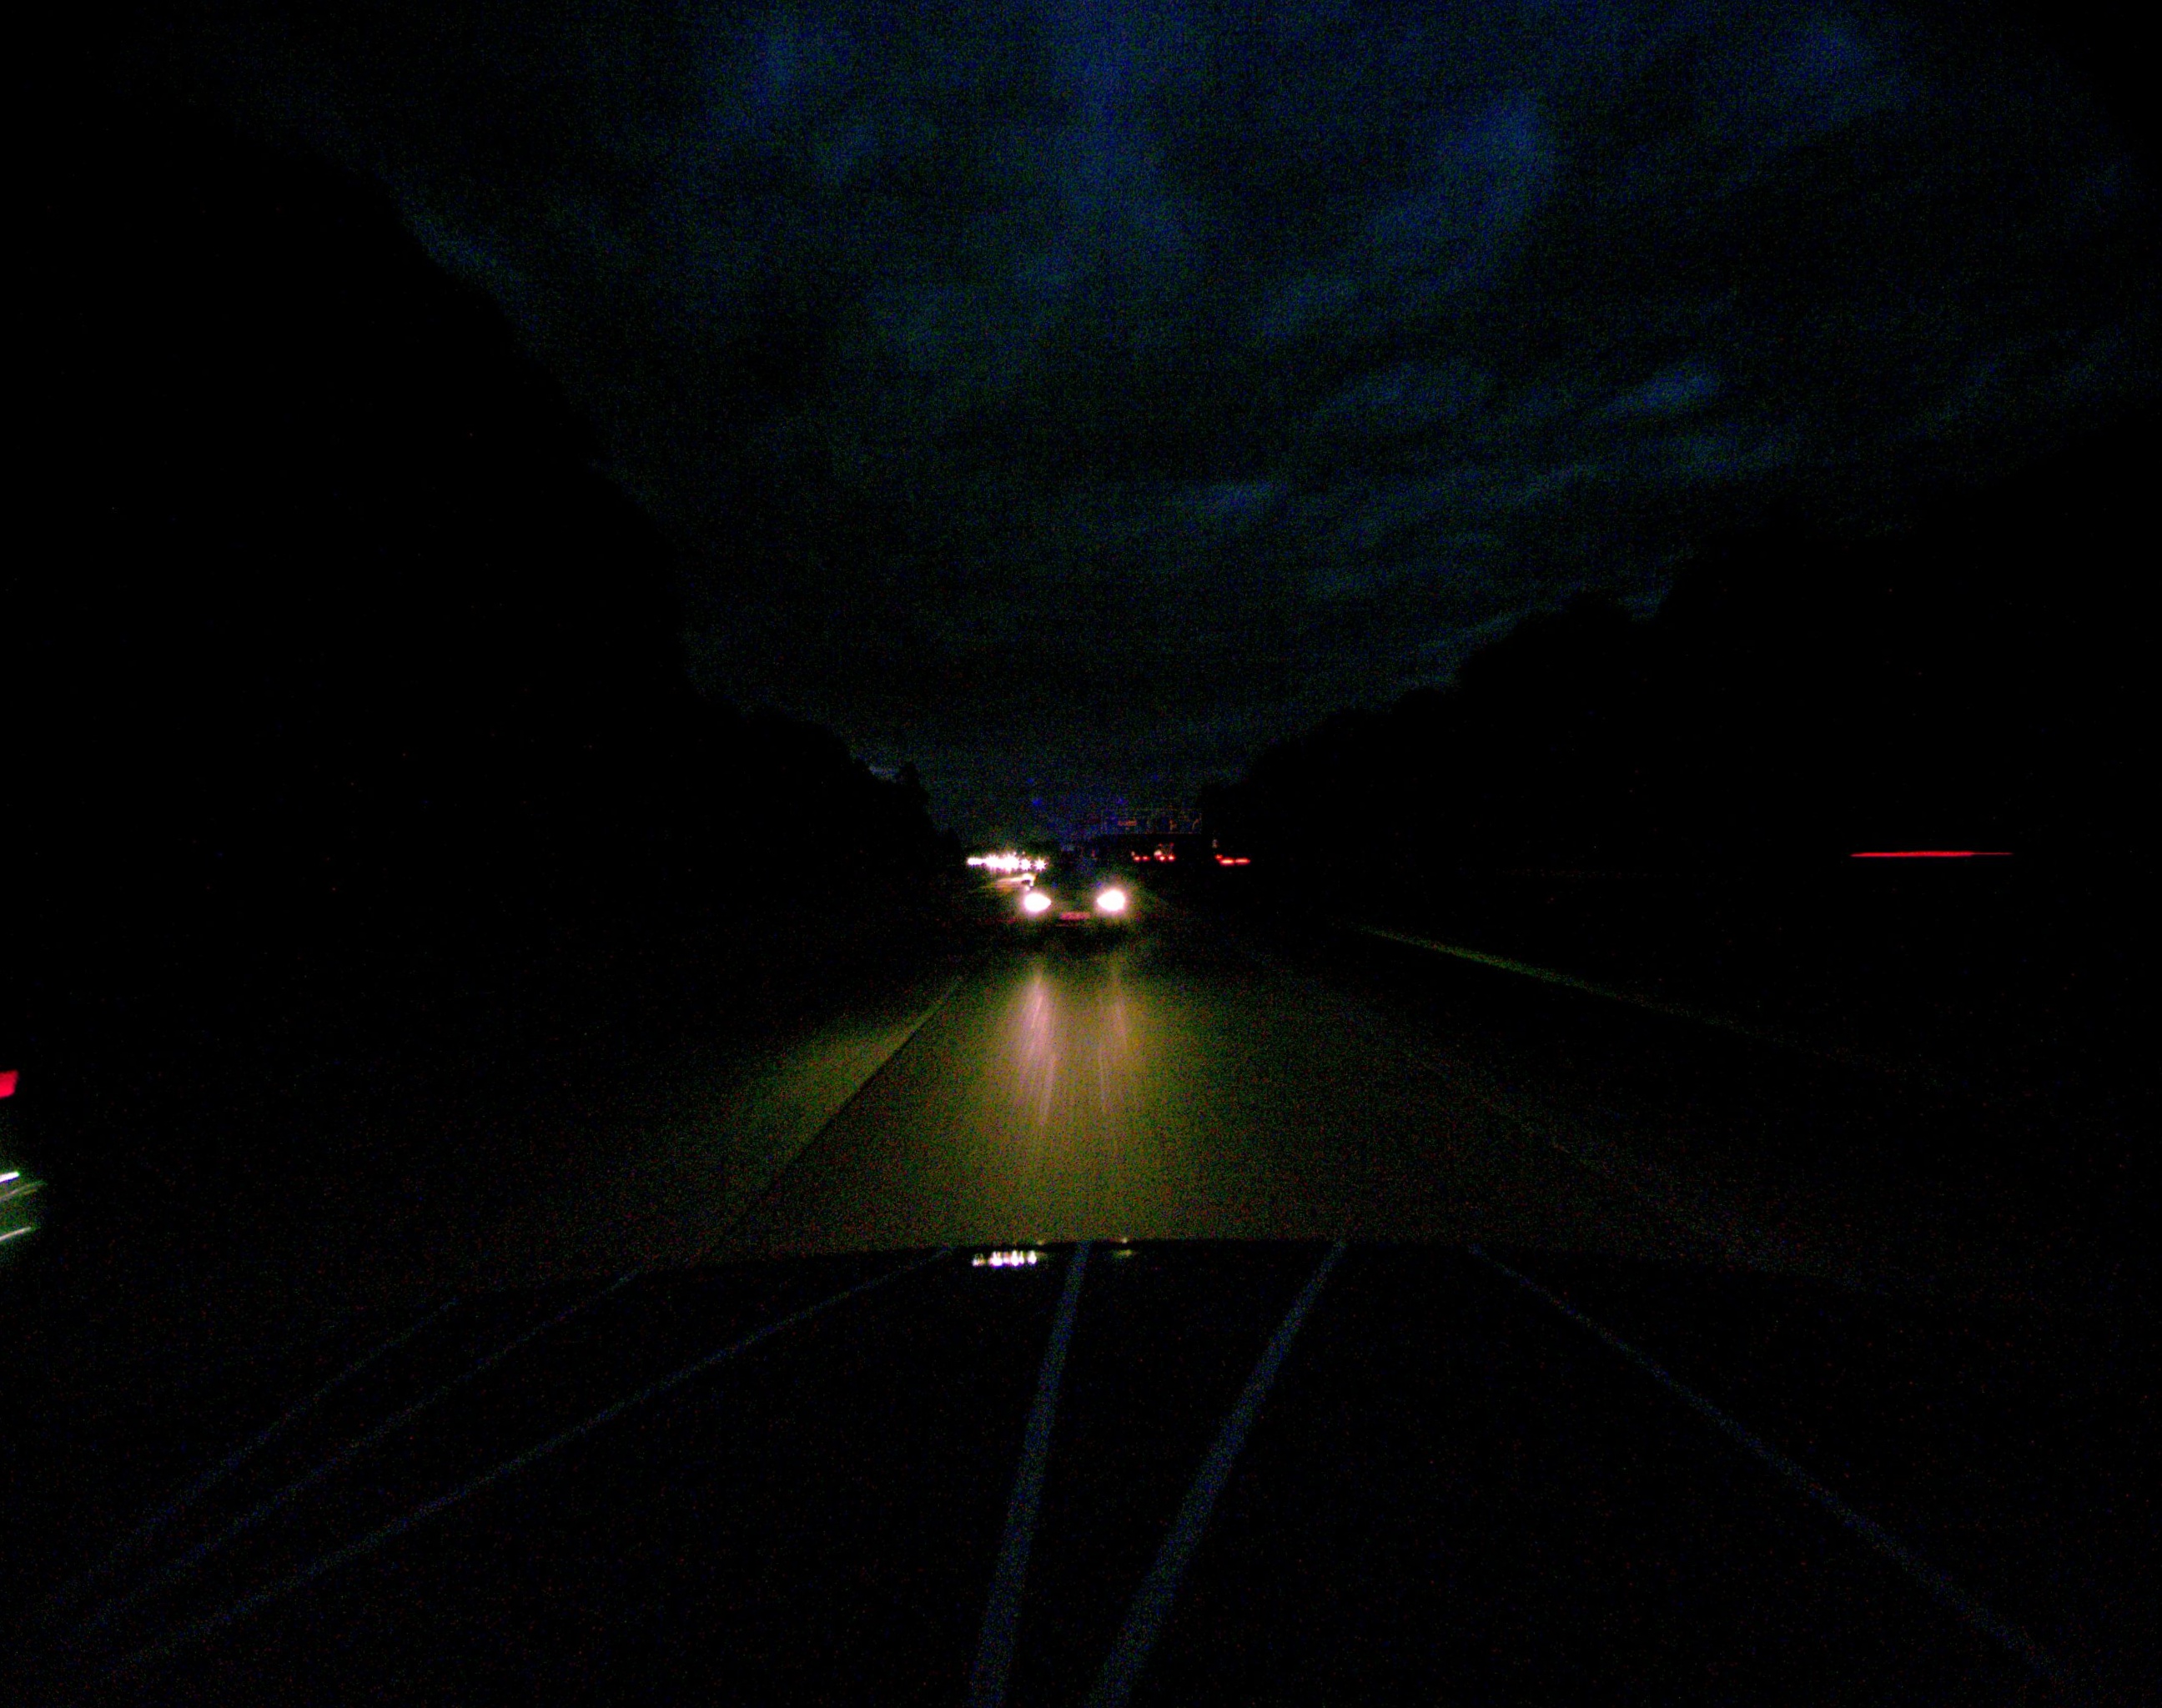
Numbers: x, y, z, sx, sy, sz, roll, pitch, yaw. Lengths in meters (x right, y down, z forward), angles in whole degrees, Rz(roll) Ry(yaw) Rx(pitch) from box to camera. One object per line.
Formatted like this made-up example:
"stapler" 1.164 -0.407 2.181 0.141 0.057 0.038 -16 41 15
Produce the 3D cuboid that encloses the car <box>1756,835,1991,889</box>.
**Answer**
"car" 23.151 0.203 22.549 1.819 1.372 4.907 -2 0 0

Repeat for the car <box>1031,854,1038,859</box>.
"car" -14.522 0.771 235.520 1.819 1.372 4.198 -2 0 0

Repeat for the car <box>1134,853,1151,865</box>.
"car" 9.683 0.755 119.874 1.999 1.695 4.550 -2 0 -2

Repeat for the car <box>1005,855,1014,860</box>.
"car" -19.745 1.016 209.839 1.819 1.372 4.043 -2 0 0

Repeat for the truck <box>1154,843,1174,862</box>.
"truck" 18.507 -0.336 169.913 2.652 3.987 10.542 -2 0 -2

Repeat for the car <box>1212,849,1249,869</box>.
"car" 11.325 0.360 57.917 1.819 1.372 4.907 -2 0 0

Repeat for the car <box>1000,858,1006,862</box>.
"car" -25.385 1.944 247.170 1.999 1.539 3.998 -2 0 -5

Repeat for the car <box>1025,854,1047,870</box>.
"car" -4.507 0.766 76.301 1.999 1.539 3.999 -2 0 -2

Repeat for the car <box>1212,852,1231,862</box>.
"car" 21.250 0.481 115.172 1.855 1.488 4.594 -2 0 -1

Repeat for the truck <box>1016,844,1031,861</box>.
"truck" -14.056 -0.399 186.429 3.145 3.987 10.543 -2 0 -1

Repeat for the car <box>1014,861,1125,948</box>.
"car" -0.183 0.889 15.389 1.879 1.435 4.451 -2 0 0
